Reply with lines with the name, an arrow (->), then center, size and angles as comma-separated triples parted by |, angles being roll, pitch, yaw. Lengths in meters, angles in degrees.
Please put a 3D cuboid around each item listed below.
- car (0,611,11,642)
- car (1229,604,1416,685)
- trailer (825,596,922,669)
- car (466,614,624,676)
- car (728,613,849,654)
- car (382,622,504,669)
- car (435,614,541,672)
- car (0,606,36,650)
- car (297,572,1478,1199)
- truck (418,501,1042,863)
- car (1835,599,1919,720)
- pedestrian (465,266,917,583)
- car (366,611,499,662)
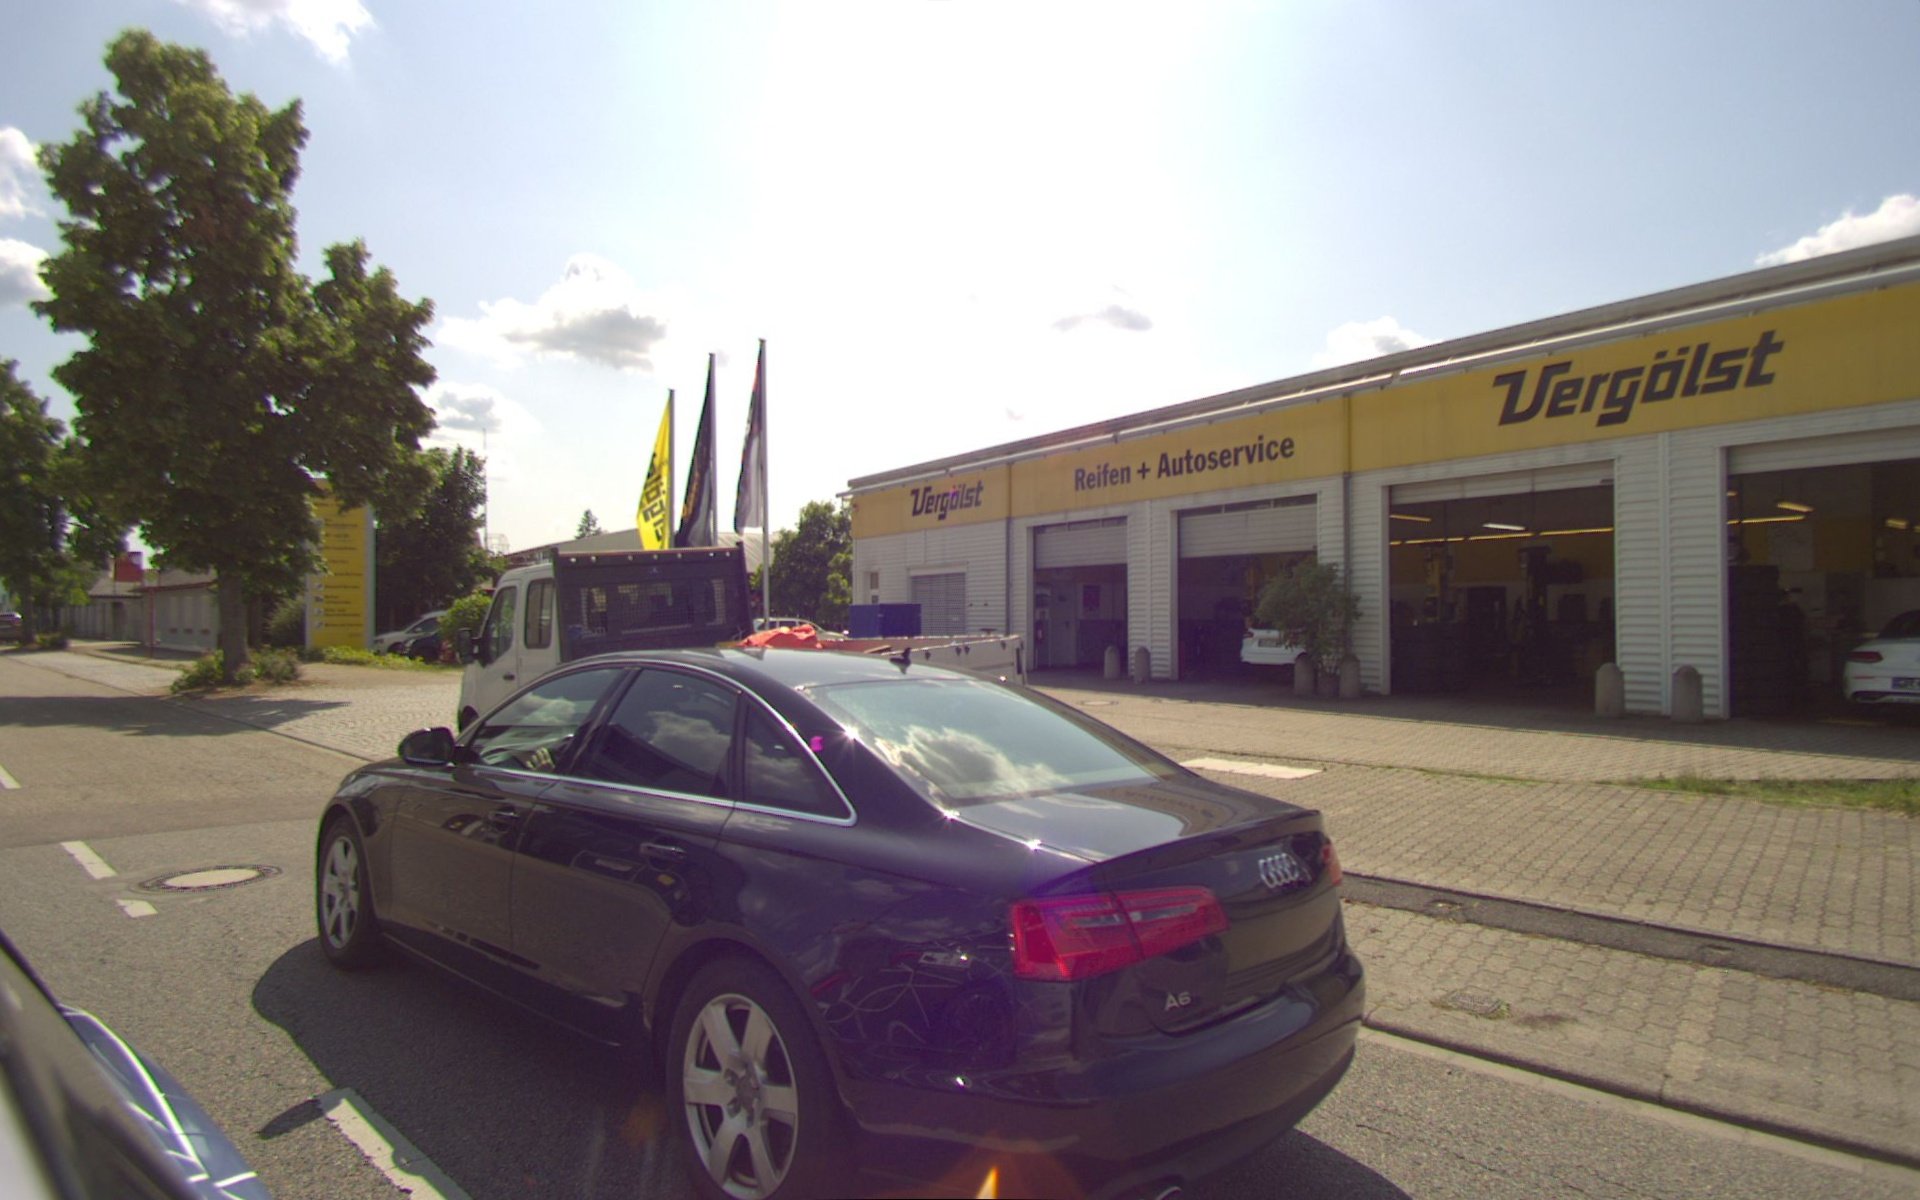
car -> -54.480, 1.479, 56.851 | 1.631, 1.708, 3.316 | 0, -1, -42
car -> 7.157, 0.813, 19.915 | 3.524, 1.448, 1.794 | 0, -1, -36
trailer -> -2.237, 0.772, 25.674 | 1.249, 1.705, 2.978 | -1, 0, -32
car -> -10.898, 1.126, 26.874 | 1.845, 1.424, 3.820 | -1, 0, 19
car -> -6.505, 1.252, 38.569 | 4.212, 1.494, 1.675 | 1, -1, -35
car -> -17.349, 1.490, 34.007 | 3.497, 1.393, 1.239 | -1, 0, -35
car -> -14.015, 1.241, 30.061 | 2.736, 1.556, 1.596 | -1, 0, -30
car -> -50.944, 1.481, 54.146 | 1.968, 2.320, 4.008 | 0, -1, -39
car -> -0.671, 0.765, 3.711 | 4.307, 1.449, 1.766 | -1, -4, 41
truck -> -2.750, 0.523, 9.641 | 7.352, 2.255, 2.104 | -1, 1, 45
car -> 12.943, 0.698, 12.809 | 3.934, 1.411, 1.983 | 0, -1, -36
pedestrian -> -2.477, -1.195, 8.777 | 4.000, 2.029, 1.972 | 0, 1, 43
car -> -19.098, 1.297, 36.707 | 4.034, 1.726, 1.682 | 0, -1, -40
